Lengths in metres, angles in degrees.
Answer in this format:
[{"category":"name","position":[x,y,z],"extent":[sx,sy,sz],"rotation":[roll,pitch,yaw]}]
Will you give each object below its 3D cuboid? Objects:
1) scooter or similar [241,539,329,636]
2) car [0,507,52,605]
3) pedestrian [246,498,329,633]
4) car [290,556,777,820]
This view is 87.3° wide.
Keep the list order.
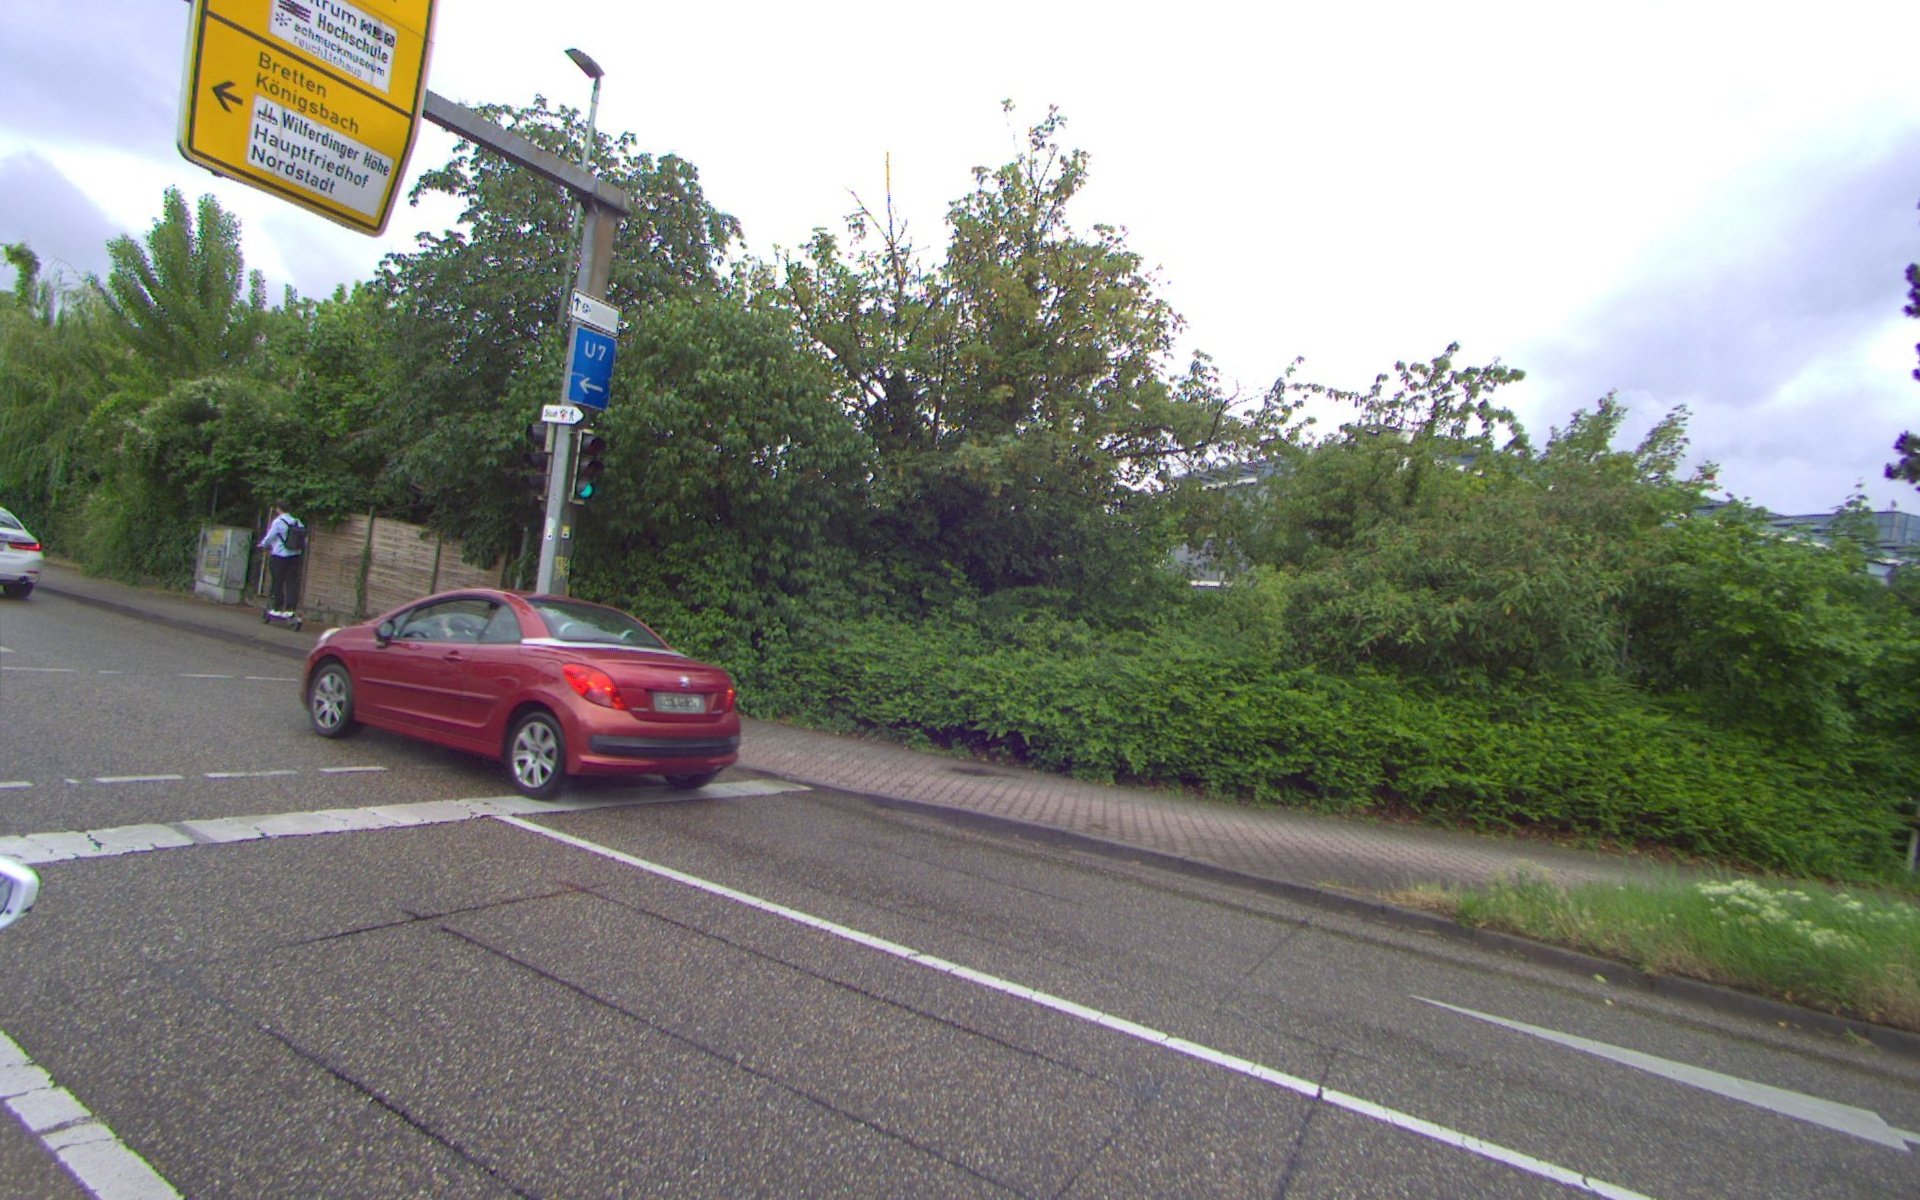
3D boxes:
[{"category":"scooter or similar","position":[-10.727,-0.210,15.985],"extent":[1.361,1.378,0.462],"rotation":[7,0,28]},{"category":"car","position":[-16.653,-0.937,16.216],"extent":[4.232,1.443,1.669],"rotation":[7,-2,30]},{"category":"pedestrian","position":[-10.688,-0.540,15.987],"extent":[0.705,2.026,0.657],"rotation":[7,0,28]},{"category":"car","position":[-3.487,0.611,8.114],"extent":[3.627,1.419,1.629],"rotation":[7,-2,30]}]
